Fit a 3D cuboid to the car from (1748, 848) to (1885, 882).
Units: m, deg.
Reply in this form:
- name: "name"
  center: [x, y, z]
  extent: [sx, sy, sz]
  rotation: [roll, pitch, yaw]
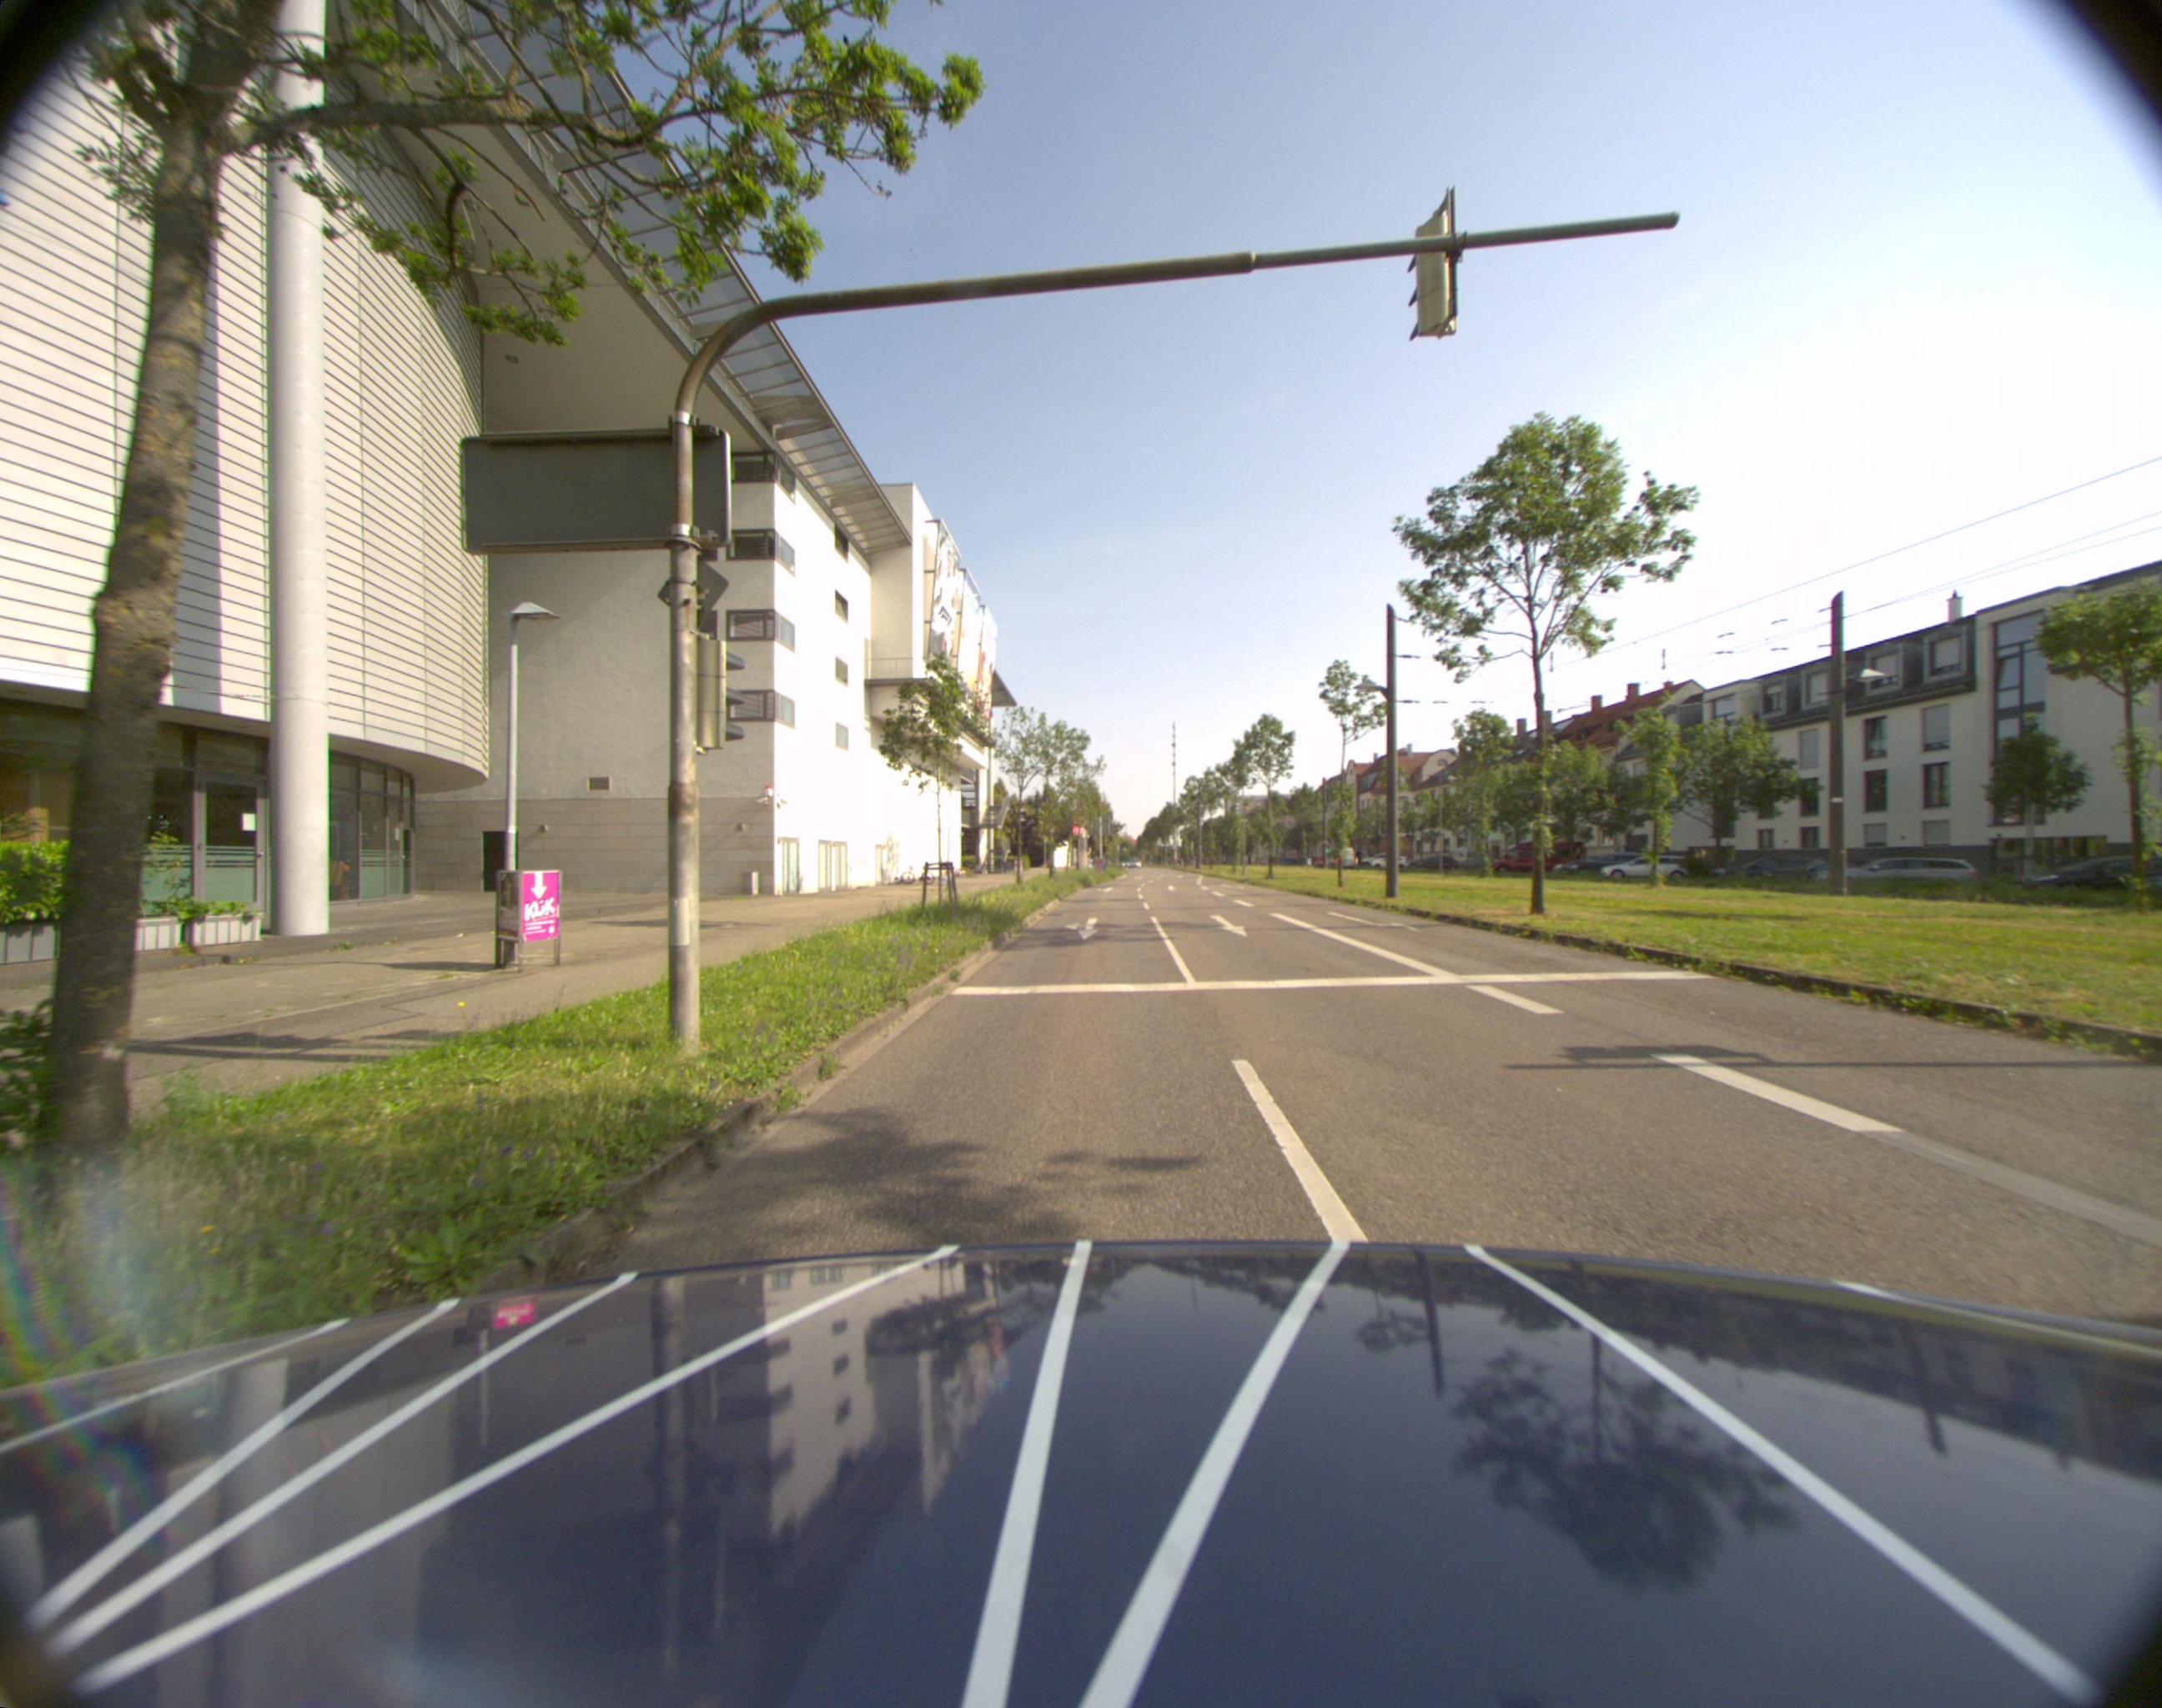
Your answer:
- name: "car"
  center: [32.545, 0.504, 33.780]
  extent: [3.990, 1.368, 1.931]
  rotation: [-2, 0, 30]

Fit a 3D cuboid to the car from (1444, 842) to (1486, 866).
- name: "car"
  center: [41.890, -0.024, 83.044]
  extent: [1.998, 2.449, 5.579]
  rotation: [-2, 0, 4]

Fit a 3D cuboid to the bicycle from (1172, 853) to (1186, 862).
- name: "bicycle"
  center: [12.928, 0.457, 100.452]
  extent: [1.752, 1.139, 0.576]
  rotation: [0, 1, -5]

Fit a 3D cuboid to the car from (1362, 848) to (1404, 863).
- name: "car"
  center: [35.023, 0.176, 88.197]
  extent: [4.088, 1.520, 1.816]
  rotation: [-2, 0, 40]

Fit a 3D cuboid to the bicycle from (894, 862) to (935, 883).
- name: "bicycle"
  center: [-8.953, 1.008, 40.932]
  extent: [2.012, 1.096, 0.676]
  rotation: [-1, 0, 7]

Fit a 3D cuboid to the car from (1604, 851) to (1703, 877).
- name: "car"
  center: [32.620, 0.580, 43.441]
  extent: [4.387, 1.312, 1.737]
  rotation: [-2, 0, 36]

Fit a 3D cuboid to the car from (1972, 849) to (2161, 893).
- name: "car"
  center: [31.476, 0.504, 23.917]
  extent: [3.989, 1.280, 2.004]
  rotation: [0, 0, 28]

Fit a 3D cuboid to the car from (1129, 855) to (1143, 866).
- name: "car"
  center: [8.198, 0.929, 113.203]
  extent: [1.998, 1.652, 4.001]
  rotation: [-1, 0, 3]

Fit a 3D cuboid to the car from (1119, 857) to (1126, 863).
- name: "car"
  center: [11.765, 1.579, 217.043]
  extent: [1.998, 1.652, 4.001]
  rotation: [-1, 0, 3]

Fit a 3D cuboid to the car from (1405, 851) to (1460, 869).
- name: "car"
  center: [33.745, 0.572, 72.919]
  extent: [4.338, 1.521, 2.004]
  rotation: [-2, 0, 42]

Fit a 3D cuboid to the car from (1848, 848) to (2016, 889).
- name: "car"
  center: [31.091, 0.532, 27.915]
  extent: [3.771, 1.368, 1.667]
  rotation: [-2, 0, 29]

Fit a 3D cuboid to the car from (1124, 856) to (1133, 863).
- name: "car"
  center: [11.518, 1.328, 184.579]
  extent: [1.998, 1.652, 4.001]
  rotation: [-1, 0, 3]

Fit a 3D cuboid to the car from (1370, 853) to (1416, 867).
- name: "car"
  center: [35.018, 0.690, 85.273]
  extent: [4.354, 1.466, 1.861]
  rotation: [-2, 0, 40]

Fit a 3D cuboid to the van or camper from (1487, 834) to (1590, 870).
- name: "van or camper"
  center: [33.807, -0.090, 56.265]
  extent: [6.144, 2.532, 2.419]
  rotation: [-1, 0, 40]

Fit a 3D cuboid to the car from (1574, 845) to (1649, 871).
- name: "car"
  center: [32.626, 0.244, 46.776]
  extent: [3.711, 1.426, 1.645]
  rotation: [-2, 0, 36]

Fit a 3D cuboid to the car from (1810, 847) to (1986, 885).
- name: "car"
  center: [32.293, 0.483, 30.236]
  extent: [4.329, 1.368, 2.003]
  rotation: [-2, 0, 29]

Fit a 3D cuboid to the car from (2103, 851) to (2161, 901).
- name: "car"
  center: [31.321, 0.550, 20.489]
  extent: [3.990, 1.280, 2.003]
  rotation: [-2, 0, 29]

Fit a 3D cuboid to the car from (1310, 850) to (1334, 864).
- name: "car"
  center: [29.805, 0.374, 94.080]
  extent: [1.820, 1.728, 4.162]
  rotation: [1, 0, 4]

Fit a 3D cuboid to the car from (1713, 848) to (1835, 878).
- name: "car"
  center: [32.882, 0.411, 36.213]
  extent: [3.989, 1.368, 1.839]
  rotation: [0, 0, 30]

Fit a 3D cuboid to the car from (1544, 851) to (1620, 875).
- name: "car"
  center: [32.859, 0.608, 49.863]
  extent: [3.989, 1.412, 1.785]
  rotation: [-2, 0, 38]

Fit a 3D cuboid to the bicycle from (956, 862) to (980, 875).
- name: "bicycle"
  center: [-8.254, 1.069, 55.482]
  extent: [1.661, 0.910, 0.483]
  rotation: [0, 0, 3]

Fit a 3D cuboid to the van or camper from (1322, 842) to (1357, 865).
- name: "van or camper"
  center: [29.543, -0.060, 87.172]
  extent: [2.146, 2.459, 6.059]
  rotation: [1, 0, 3]

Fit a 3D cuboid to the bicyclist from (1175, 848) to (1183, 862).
- name: "bicyclist"
  center: [12.954, 0.108, 100.377]
  extent: [0.871, 1.812, 0.908]
  rotation: [0, 1, -6]
